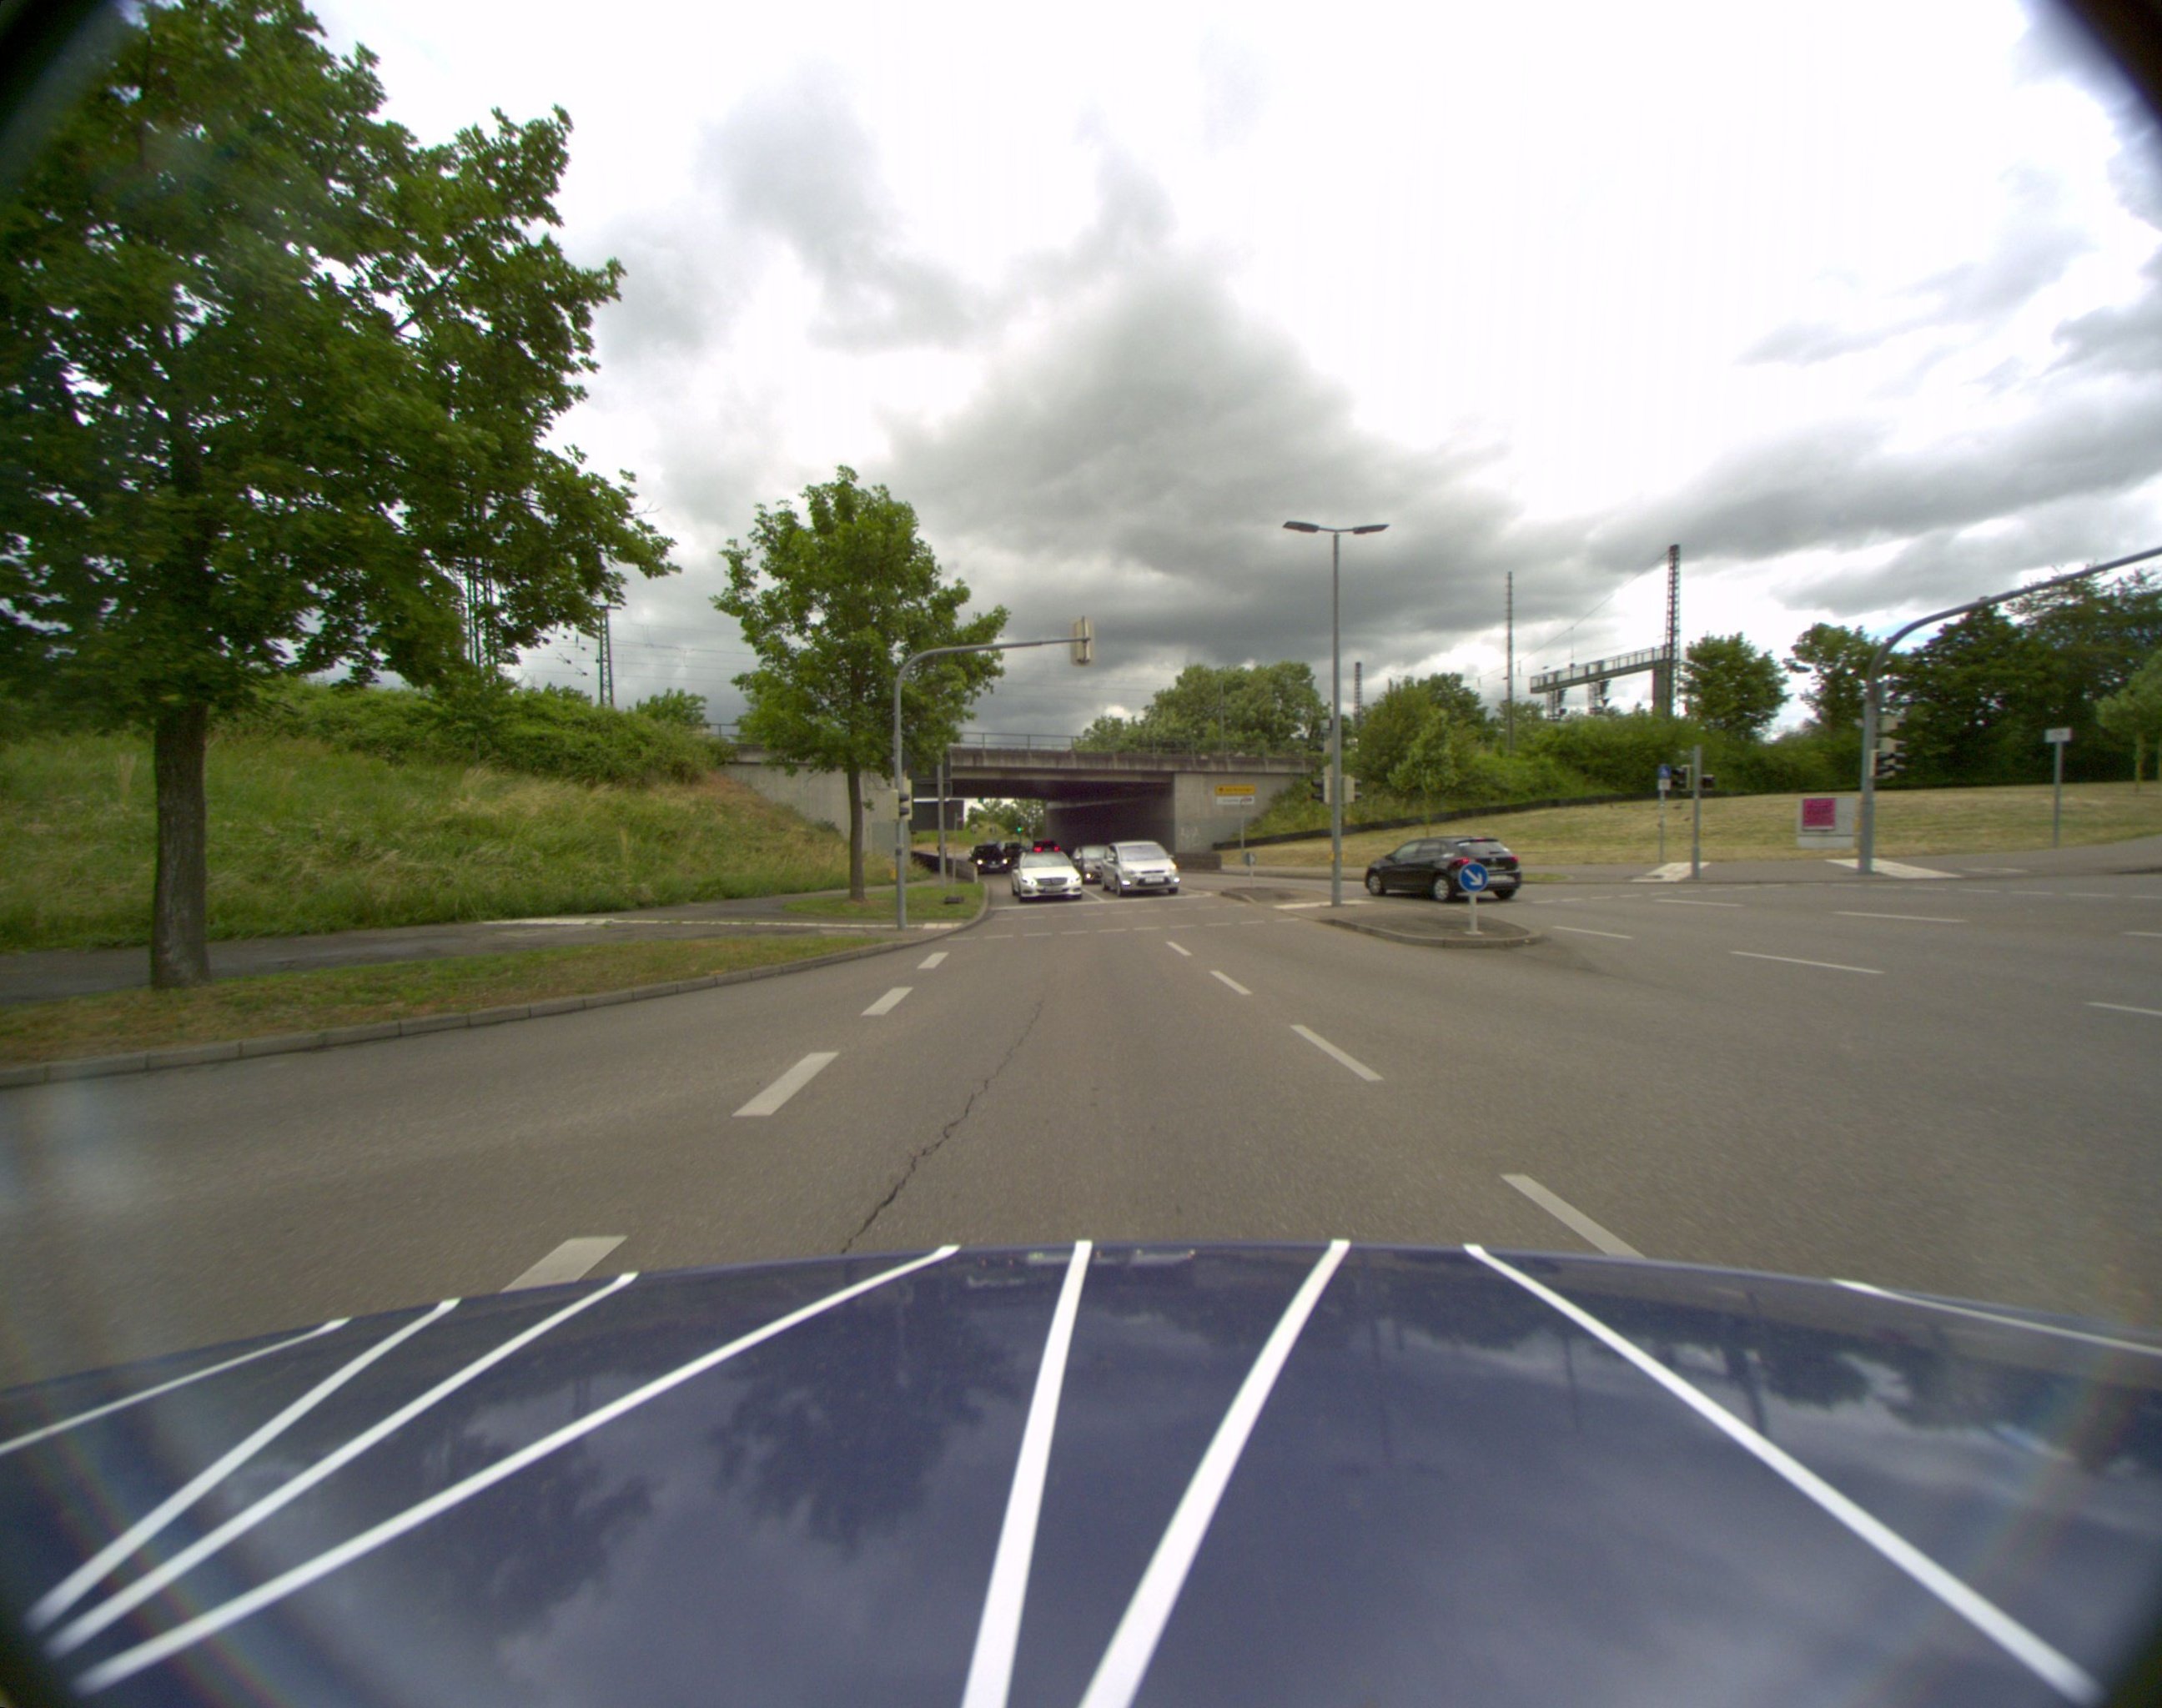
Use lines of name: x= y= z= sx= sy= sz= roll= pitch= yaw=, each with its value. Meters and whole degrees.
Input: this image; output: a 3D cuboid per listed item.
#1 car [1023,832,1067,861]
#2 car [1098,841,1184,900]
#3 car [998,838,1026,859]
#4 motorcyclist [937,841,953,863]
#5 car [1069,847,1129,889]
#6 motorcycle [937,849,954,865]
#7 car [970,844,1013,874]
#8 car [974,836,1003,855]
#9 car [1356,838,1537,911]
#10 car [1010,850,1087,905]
car: x=-2.473 y=-0.517 z=51.668 sx=1.967 sy=1.781 sz=3.994 roll=-3 pitch=1 yaw=-17
car: x=1.806 y=0.450 z=24.216 sx=1.831 sy=1.629 sz=4.509 roll=-3 pitch=1 yaw=-7
car: x=-5.620 y=-0.456 z=61.604 sx=1.760 sy=1.505 sz=3.883 roll=-3 pitch=1 yaw=-13
motorcyclist: x=-10.015 y=-0.165 z=55.935 sx=0.884 sy=1.596 sz=1.242 roll=-3 pitch=1 yaw=-18
car: x=0.656 y=0.503 z=31.045 sx=1.760 sy=1.525 sz=4.250 roll=-3 pitch=1 yaw=-8
motorcycle: x=-10.036 y=0.197 z=56.087 sx=0.884 sy=1.098 sz=2.356 roll=-3 pitch=1 yaw=-18
car: x=-5.052 y=0.259 z=42.328 sx=1.761 sy=1.532 sz=3.994 roll=-3 pitch=1 yaw=-15
car: x=-8.576 y=-0.775 z=70.070 sx=1.761 sy=1.610 sz=4.364 roll=-3 pitch=1 yaw=-19
car: x=8.412 y=0.438 z=17.920 sx=1.760 sy=1.446 sz=4.064 roll=-3 pitch=0 yaw=-10
car: x=-1.094 y=0.652 z=23.710 sx=1.906 sy=1.471 sz=4.090 roll=-3 pitch=1 yaw=-9
